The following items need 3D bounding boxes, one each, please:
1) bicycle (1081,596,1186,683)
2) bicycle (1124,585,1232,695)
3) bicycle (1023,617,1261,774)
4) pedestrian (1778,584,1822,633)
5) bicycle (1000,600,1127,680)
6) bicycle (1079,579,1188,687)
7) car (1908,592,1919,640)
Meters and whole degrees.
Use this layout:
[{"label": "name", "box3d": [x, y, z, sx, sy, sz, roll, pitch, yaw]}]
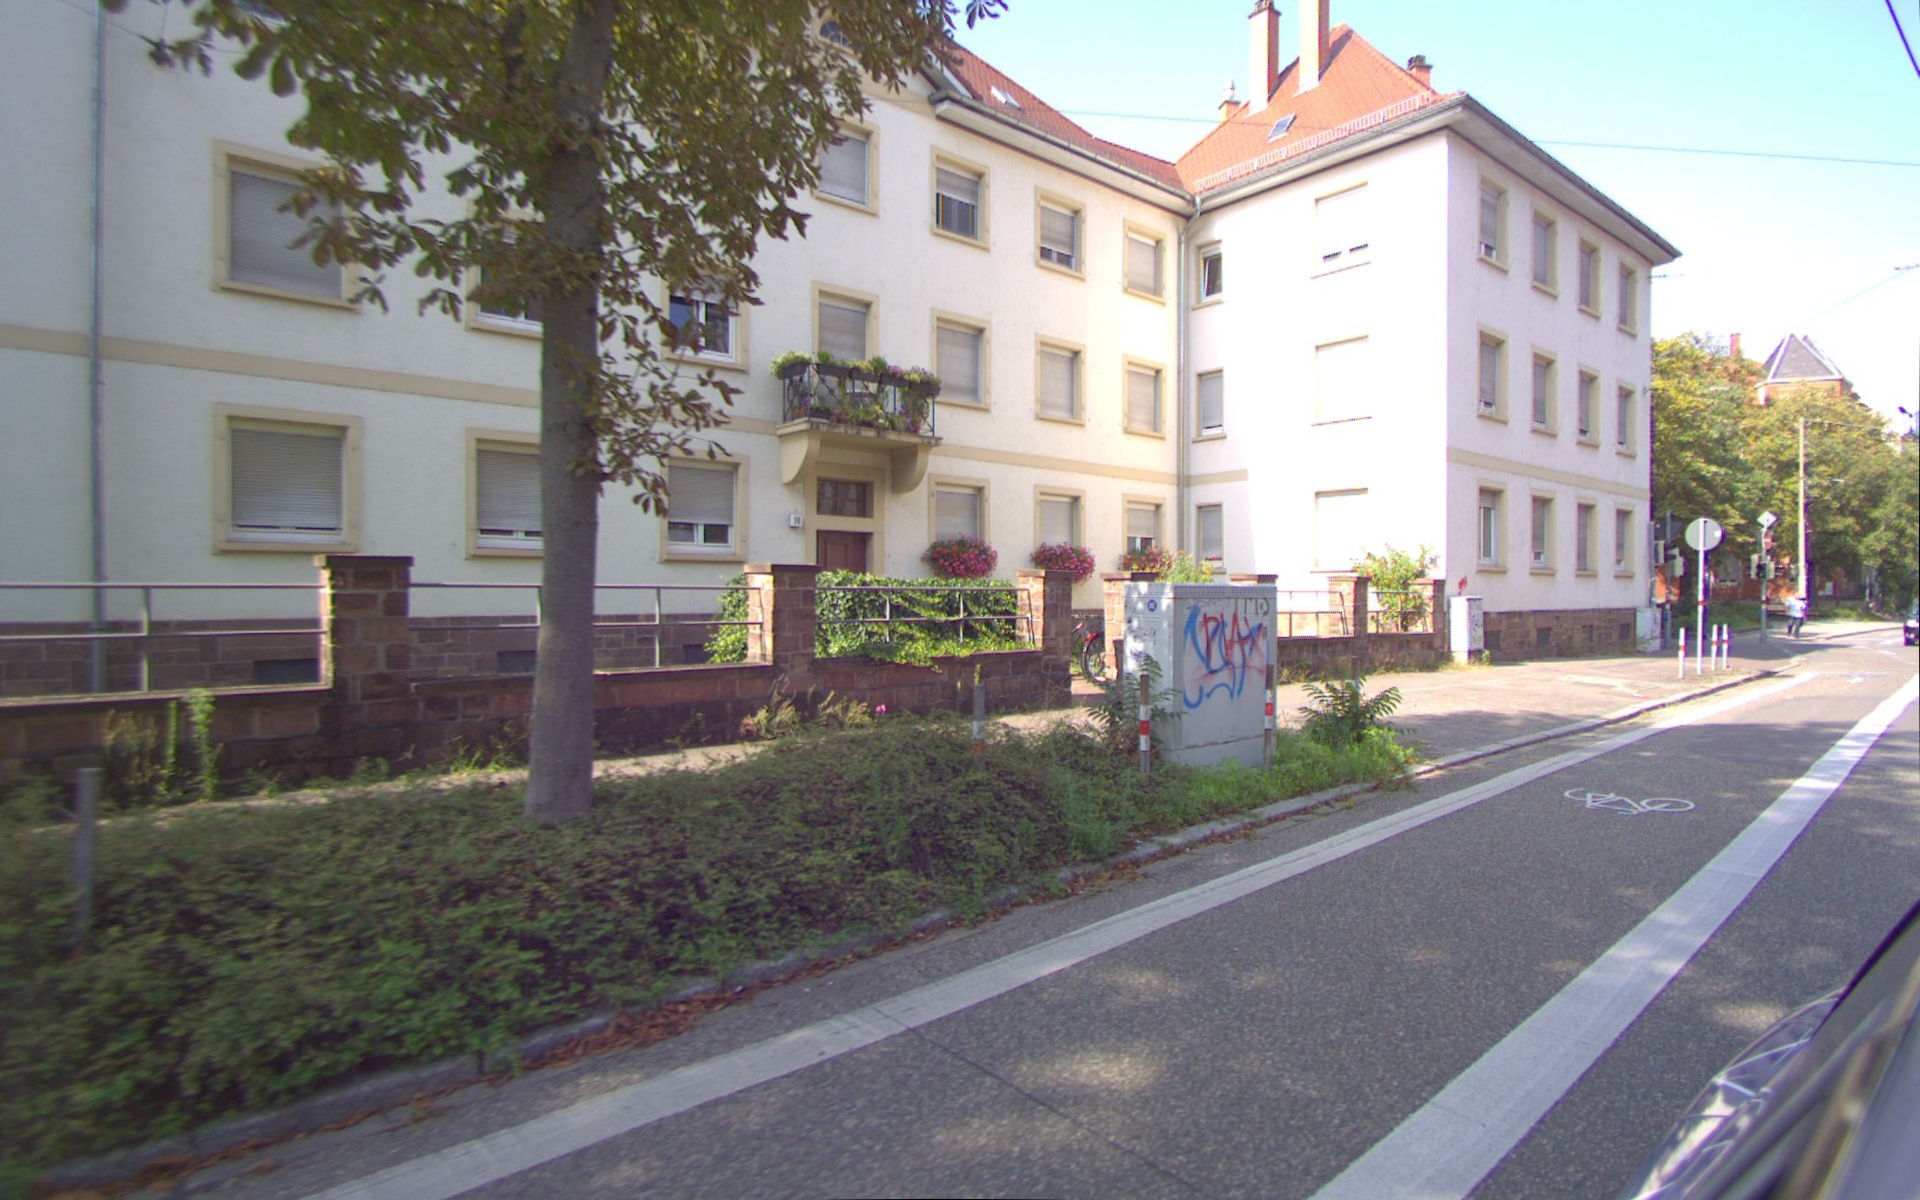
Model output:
[{"label": "bicycle", "box3d": [2.605, 0.559, 15.097, 1.707, 1.231, 0.455, 0, -1, -36]}, {"label": "bicycle", "box3d": [3.112, 0.536, 14.367, 1.707, 1.473, 0.455, 0, -1, -36]}, {"label": "bicycle", "box3d": [1.607, 0.732, 8.625, 2.294, 1.118, 0.772, 0, 0, -42]}, {"label": "pedestrian", "box3d": [31.573, 0.309, 38.039, 0.952, 1.745, 1.079, 0, 3, -40]}, {"label": "bicycle", "box3d": [1.599, 0.591, 15.449, 1.986, 1.140, 0.523, -1, -1, -30]}, {"label": "bicycle", "box3d": [2.512, 0.441, 14.520, 1.707, 1.473, 0.455, 0, -1, -36]}, {"label": "car", "box3d": [31.134, 0.476, 31.827, 3.935, 1.487, 1.771, 0, -1, -45]}]
